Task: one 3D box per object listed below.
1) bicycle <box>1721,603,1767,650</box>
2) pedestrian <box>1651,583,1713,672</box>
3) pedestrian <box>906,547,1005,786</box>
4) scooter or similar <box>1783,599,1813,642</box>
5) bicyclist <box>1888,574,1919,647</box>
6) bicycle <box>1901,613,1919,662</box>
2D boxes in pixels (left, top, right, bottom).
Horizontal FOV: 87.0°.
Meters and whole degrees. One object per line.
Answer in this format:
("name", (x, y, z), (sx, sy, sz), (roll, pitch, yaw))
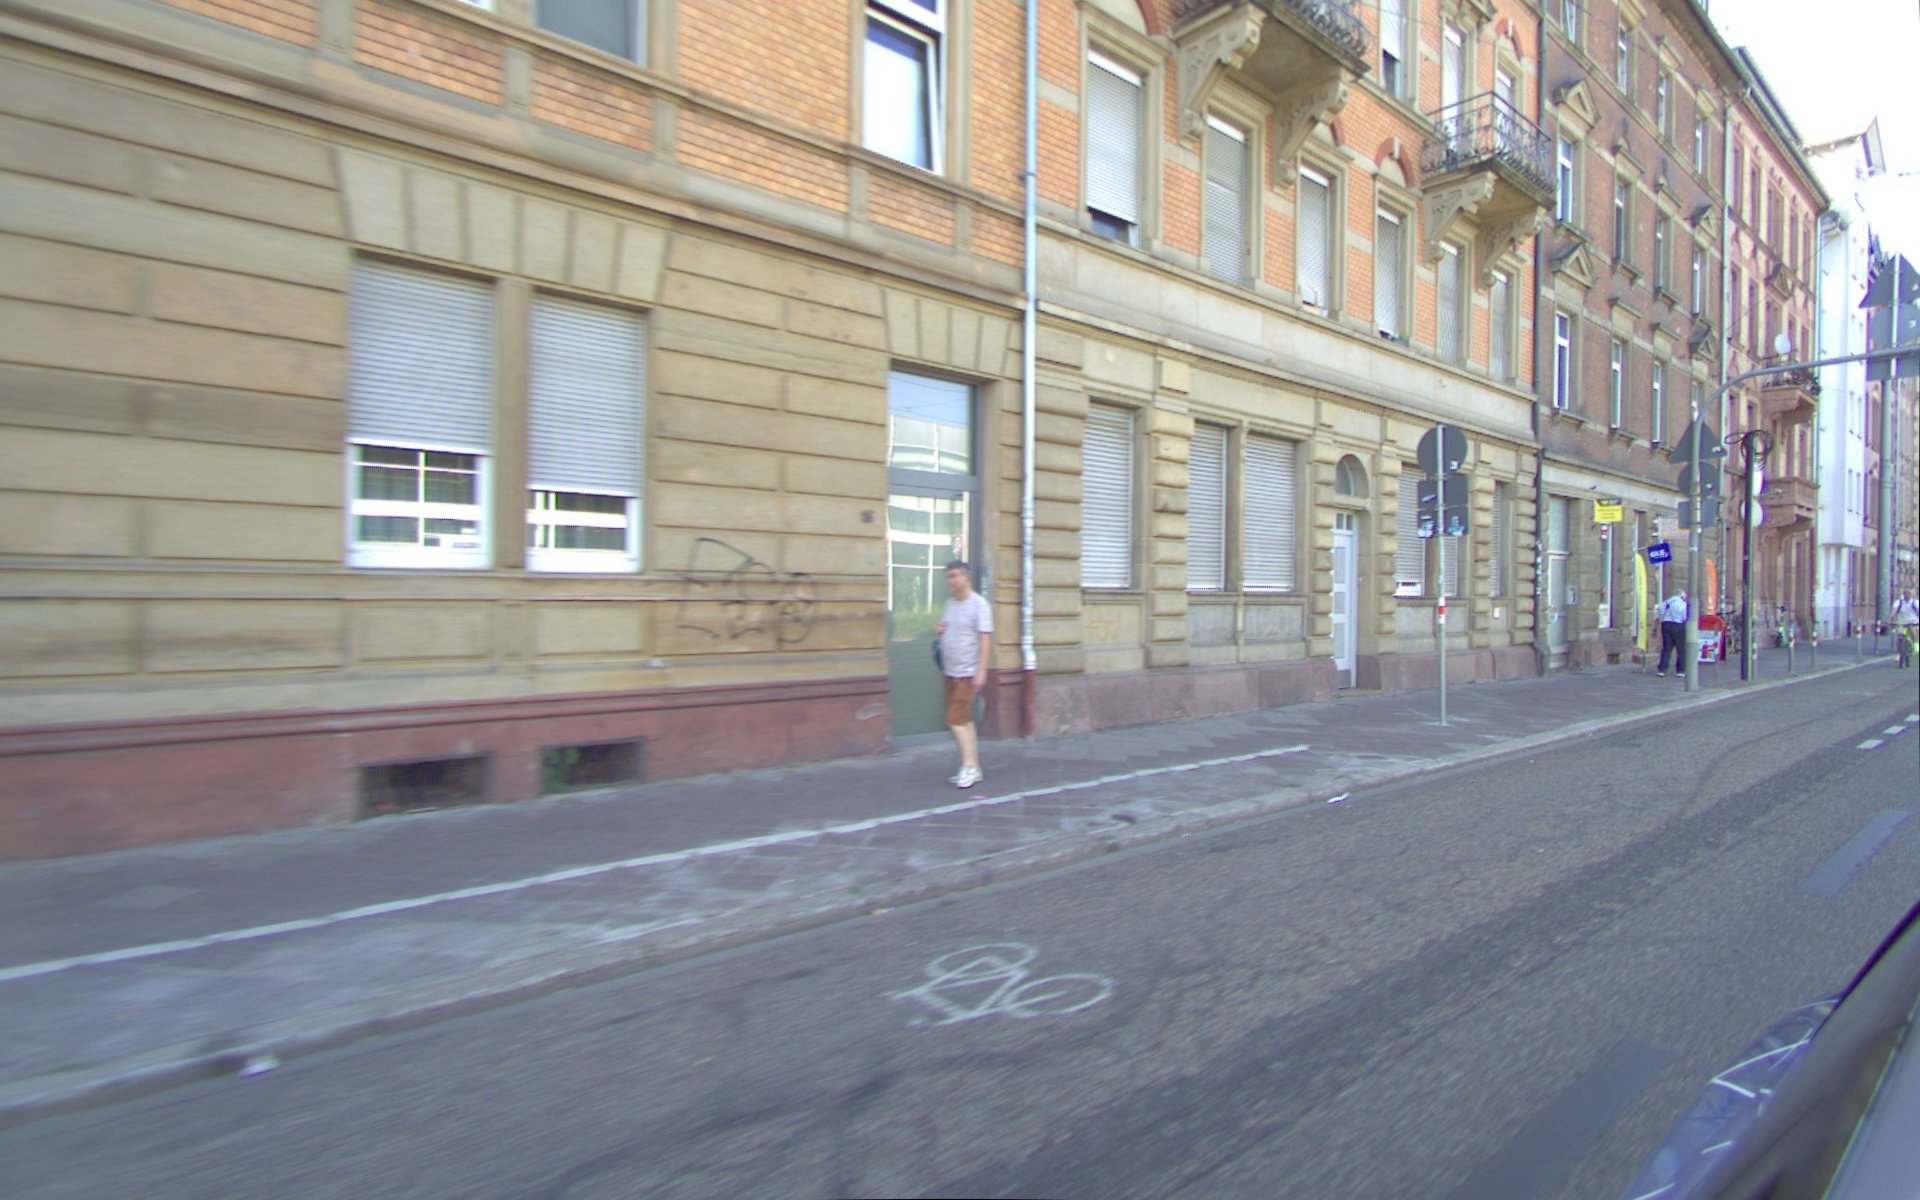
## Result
("bicycle", (20.186, 0.669, 26.043), (1.862, 1.135, 0.411), (-1, 2, -36))
("pedestrian", (13.608, 0.490, 19.072), (0.640, 1.625, 0.800), (0, 1, -38))
("pedestrian", (-0.038, 0.467, 7.640), (0.465, 1.721, 0.554), (0, 2, -40))
("scooter or similar", (24.775, 0.589, 29.904), (1.454, 1.226, 0.407), (-1, 2, -40))
("bicyclist", (22.872, 0.231, 24.056), (1.096, 1.705, 0.684), (-1, -1, -16))
("bicycle", (22.806, 0.870, 23.982), (1.899, 1.132, 0.532), (0, -1, -40))
